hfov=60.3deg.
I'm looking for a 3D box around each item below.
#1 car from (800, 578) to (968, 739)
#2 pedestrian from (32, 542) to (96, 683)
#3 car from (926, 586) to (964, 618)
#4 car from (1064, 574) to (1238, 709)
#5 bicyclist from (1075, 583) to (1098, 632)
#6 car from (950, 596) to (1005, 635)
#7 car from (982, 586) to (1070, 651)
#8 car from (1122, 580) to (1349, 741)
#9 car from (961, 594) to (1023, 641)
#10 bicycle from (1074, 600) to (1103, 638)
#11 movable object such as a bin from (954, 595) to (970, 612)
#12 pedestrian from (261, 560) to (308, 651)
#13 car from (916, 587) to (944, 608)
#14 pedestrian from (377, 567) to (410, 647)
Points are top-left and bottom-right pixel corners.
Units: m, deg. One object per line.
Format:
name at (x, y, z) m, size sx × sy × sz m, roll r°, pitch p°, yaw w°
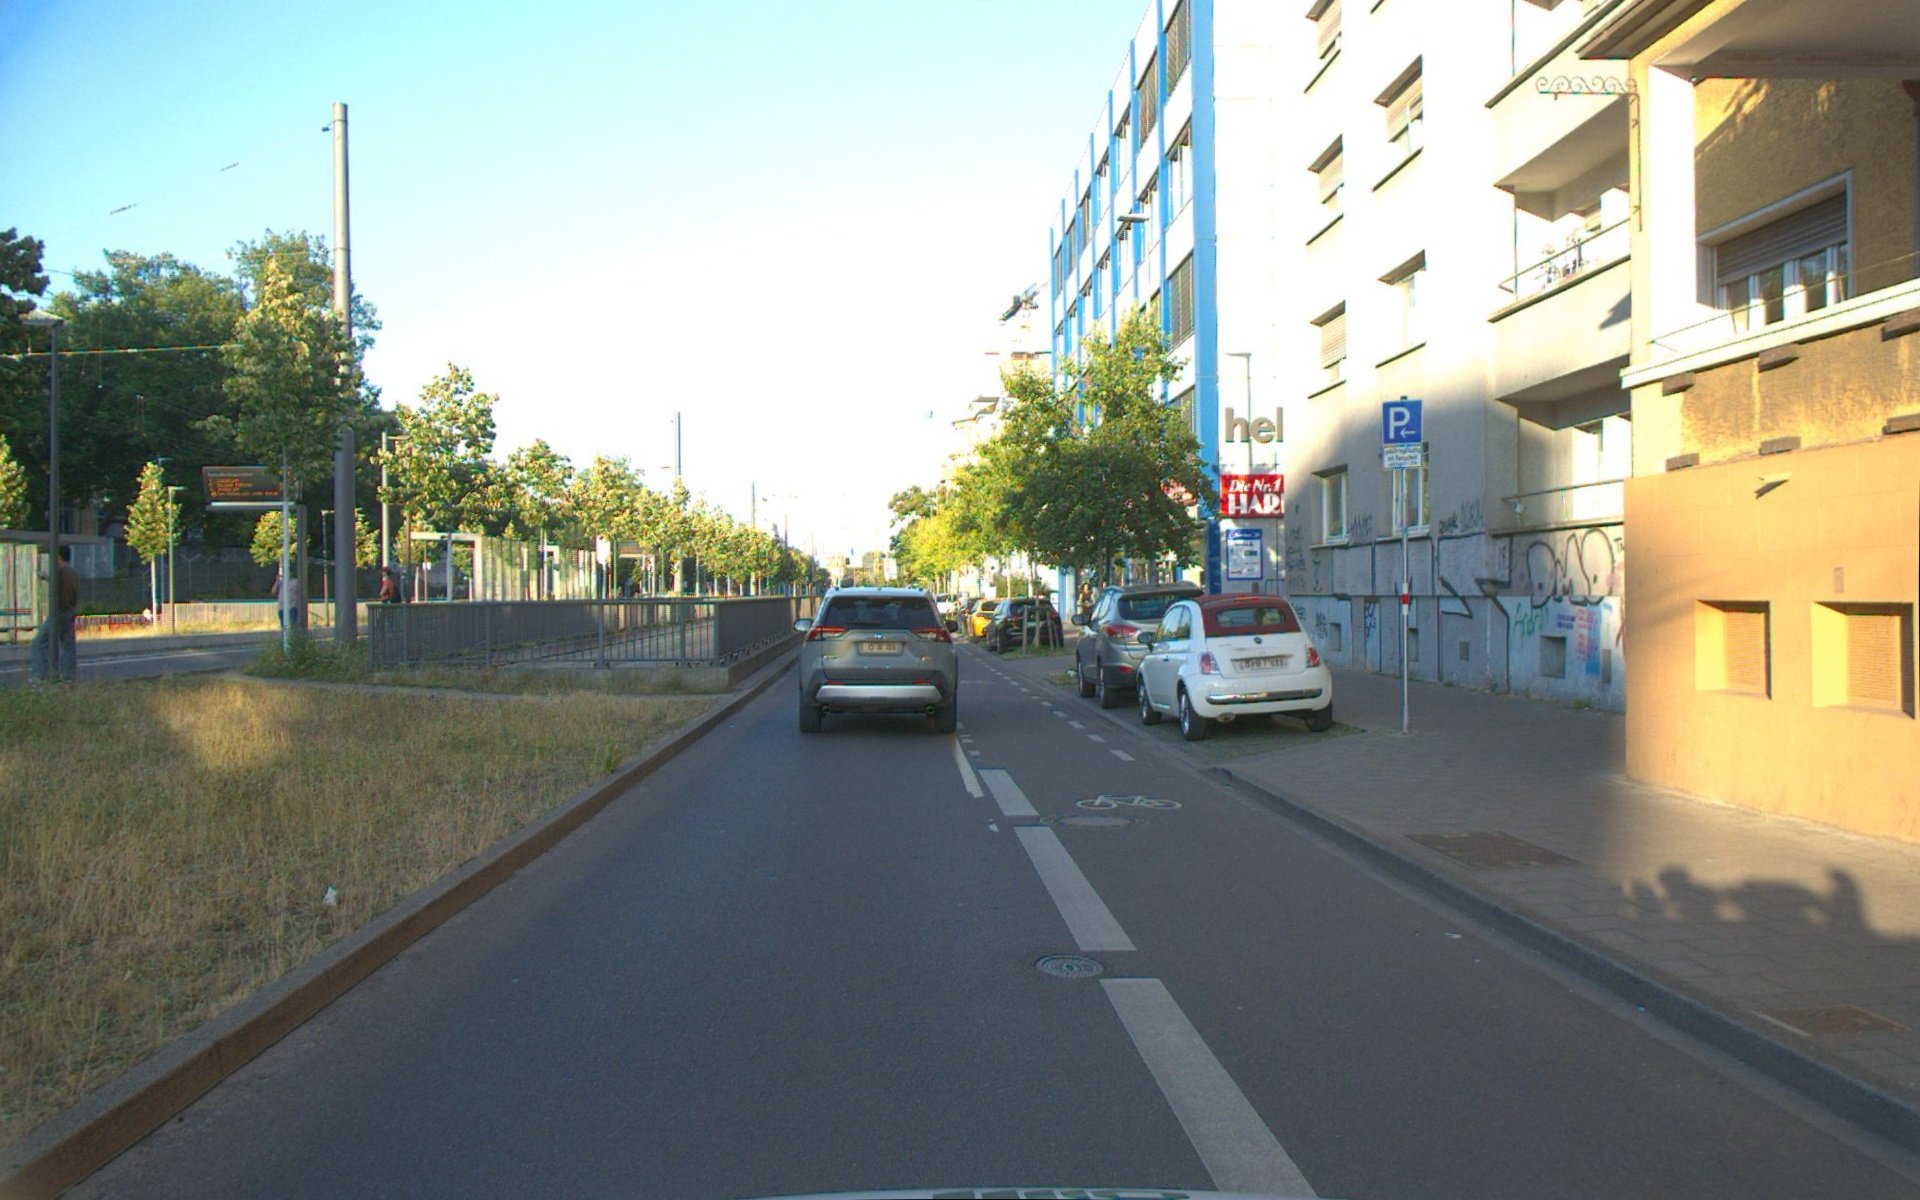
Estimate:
car at (-1.007, 0.655, 20.276) m, size 1.821 × 1.744 × 4.188 m, roll 1°, pitch 0°, yaw -5°
pedestrian at (-11.715, 0.164, 21.634) m, size 0.461 × 1.818 × 0.626 m, roll -1°, pitch 0°, yaw 4°
car at (-0.906, 0.081, 96.169) m, size 1.818 × 1.736 × 4.250 m, roll -3°, pitch 1°, yaw -5°
car at (2.682, 0.543, 24.237) m, size 1.722 × 1.683 × 4.526 m, roll -3°, pitch 0°, yaw -3°
bicyclist at (4.007, 0.223, 52.293) m, size 0.547 × 1.501 × 0.622 m, roll -4°, pitch 0°, yaw -5°
car at (0.683, 0.603, 66.831) m, size 1.784 × 1.480 × 4.124 m, roll -2°, pitch 0°, yaw -5°
car at (1.776, 0.486, 46.246) m, size 1.784 × 1.593 × 4.805 m, roll -4°, pitch 0°, yaw -5°
car at (3.048, 0.622, 18.980) m, size 1.637 × 1.544 × 3.598 m, roll -4°, pitch 0°, yaw -5°
car at (1.060, 0.572, 56.632) m, size 1.650 × 1.480 × 4.125 m, roll -2°, pitch 0°, yaw -5°
bicycle at (4.043, 0.585, 52.257) m, size 0.543 × 1.149 × 1.972 m, roll -4°, pitch 0°, yaw -5°
movable object such as a bin at (0.161, 0.300, 141.396) m, size 1.236 × 1.487 × 1.122 m, roll 0°, pitch 0°, yaw -6°
pedestrian at (-13.394, 0.102, 32.801) m, size 0.712 × 1.775 × 0.635 m, roll -1°, pitch 1°, yaw -11°
car at (-2.275, -0.174, 125.415) m, size 1.758 × 1.497 × 4.439 m, roll -1°, pitch 0°, yaw -6°
pedestrian at (-12.728, 0.152, 37.166) m, size 0.624 × 1.759 × 0.633 m, roll -1°, pitch 0°, yaw -16°
